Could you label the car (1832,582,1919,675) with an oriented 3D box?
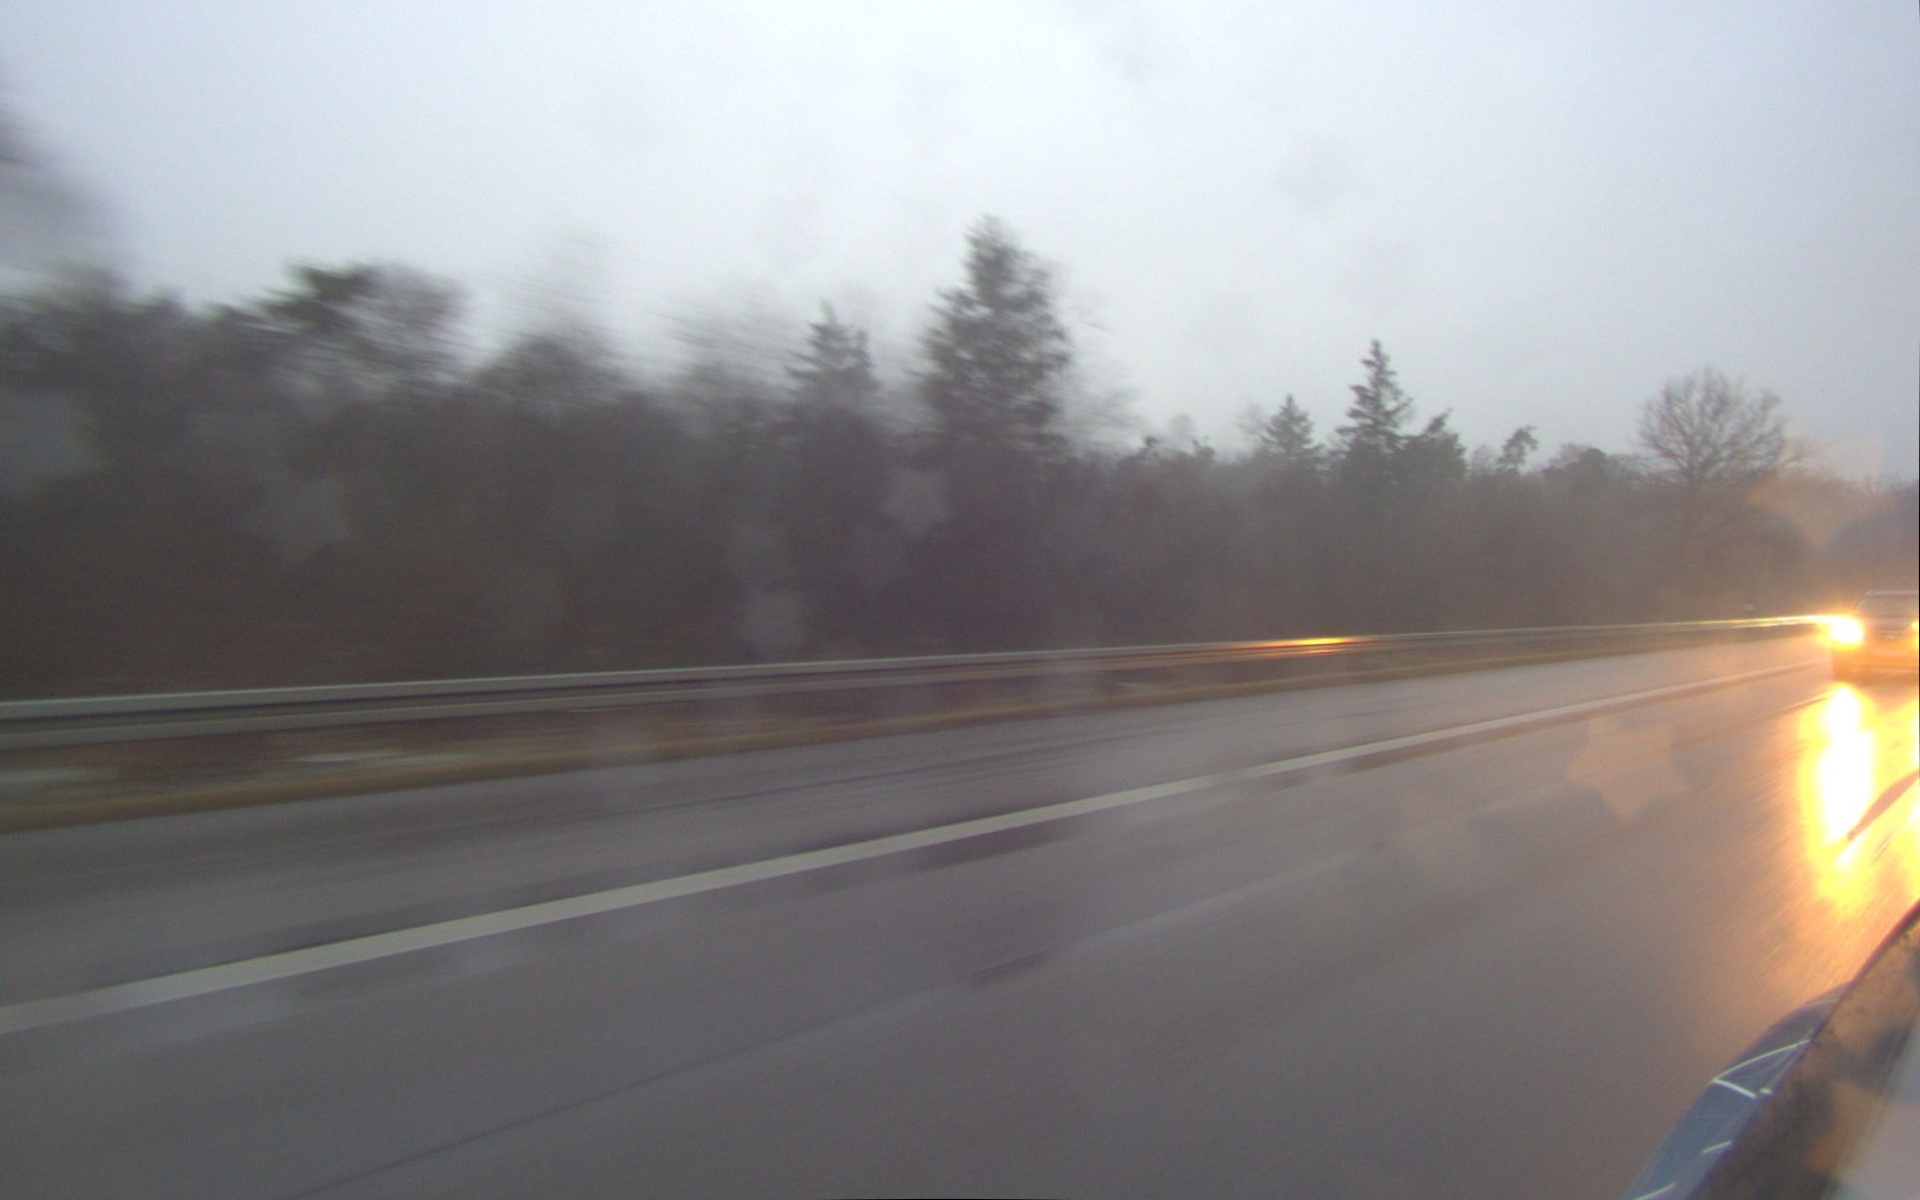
[{"bbox_3d":[19.259,0.521,20.258,4.382,1.719,2.074,0,1,-40],"label":"car"}]
